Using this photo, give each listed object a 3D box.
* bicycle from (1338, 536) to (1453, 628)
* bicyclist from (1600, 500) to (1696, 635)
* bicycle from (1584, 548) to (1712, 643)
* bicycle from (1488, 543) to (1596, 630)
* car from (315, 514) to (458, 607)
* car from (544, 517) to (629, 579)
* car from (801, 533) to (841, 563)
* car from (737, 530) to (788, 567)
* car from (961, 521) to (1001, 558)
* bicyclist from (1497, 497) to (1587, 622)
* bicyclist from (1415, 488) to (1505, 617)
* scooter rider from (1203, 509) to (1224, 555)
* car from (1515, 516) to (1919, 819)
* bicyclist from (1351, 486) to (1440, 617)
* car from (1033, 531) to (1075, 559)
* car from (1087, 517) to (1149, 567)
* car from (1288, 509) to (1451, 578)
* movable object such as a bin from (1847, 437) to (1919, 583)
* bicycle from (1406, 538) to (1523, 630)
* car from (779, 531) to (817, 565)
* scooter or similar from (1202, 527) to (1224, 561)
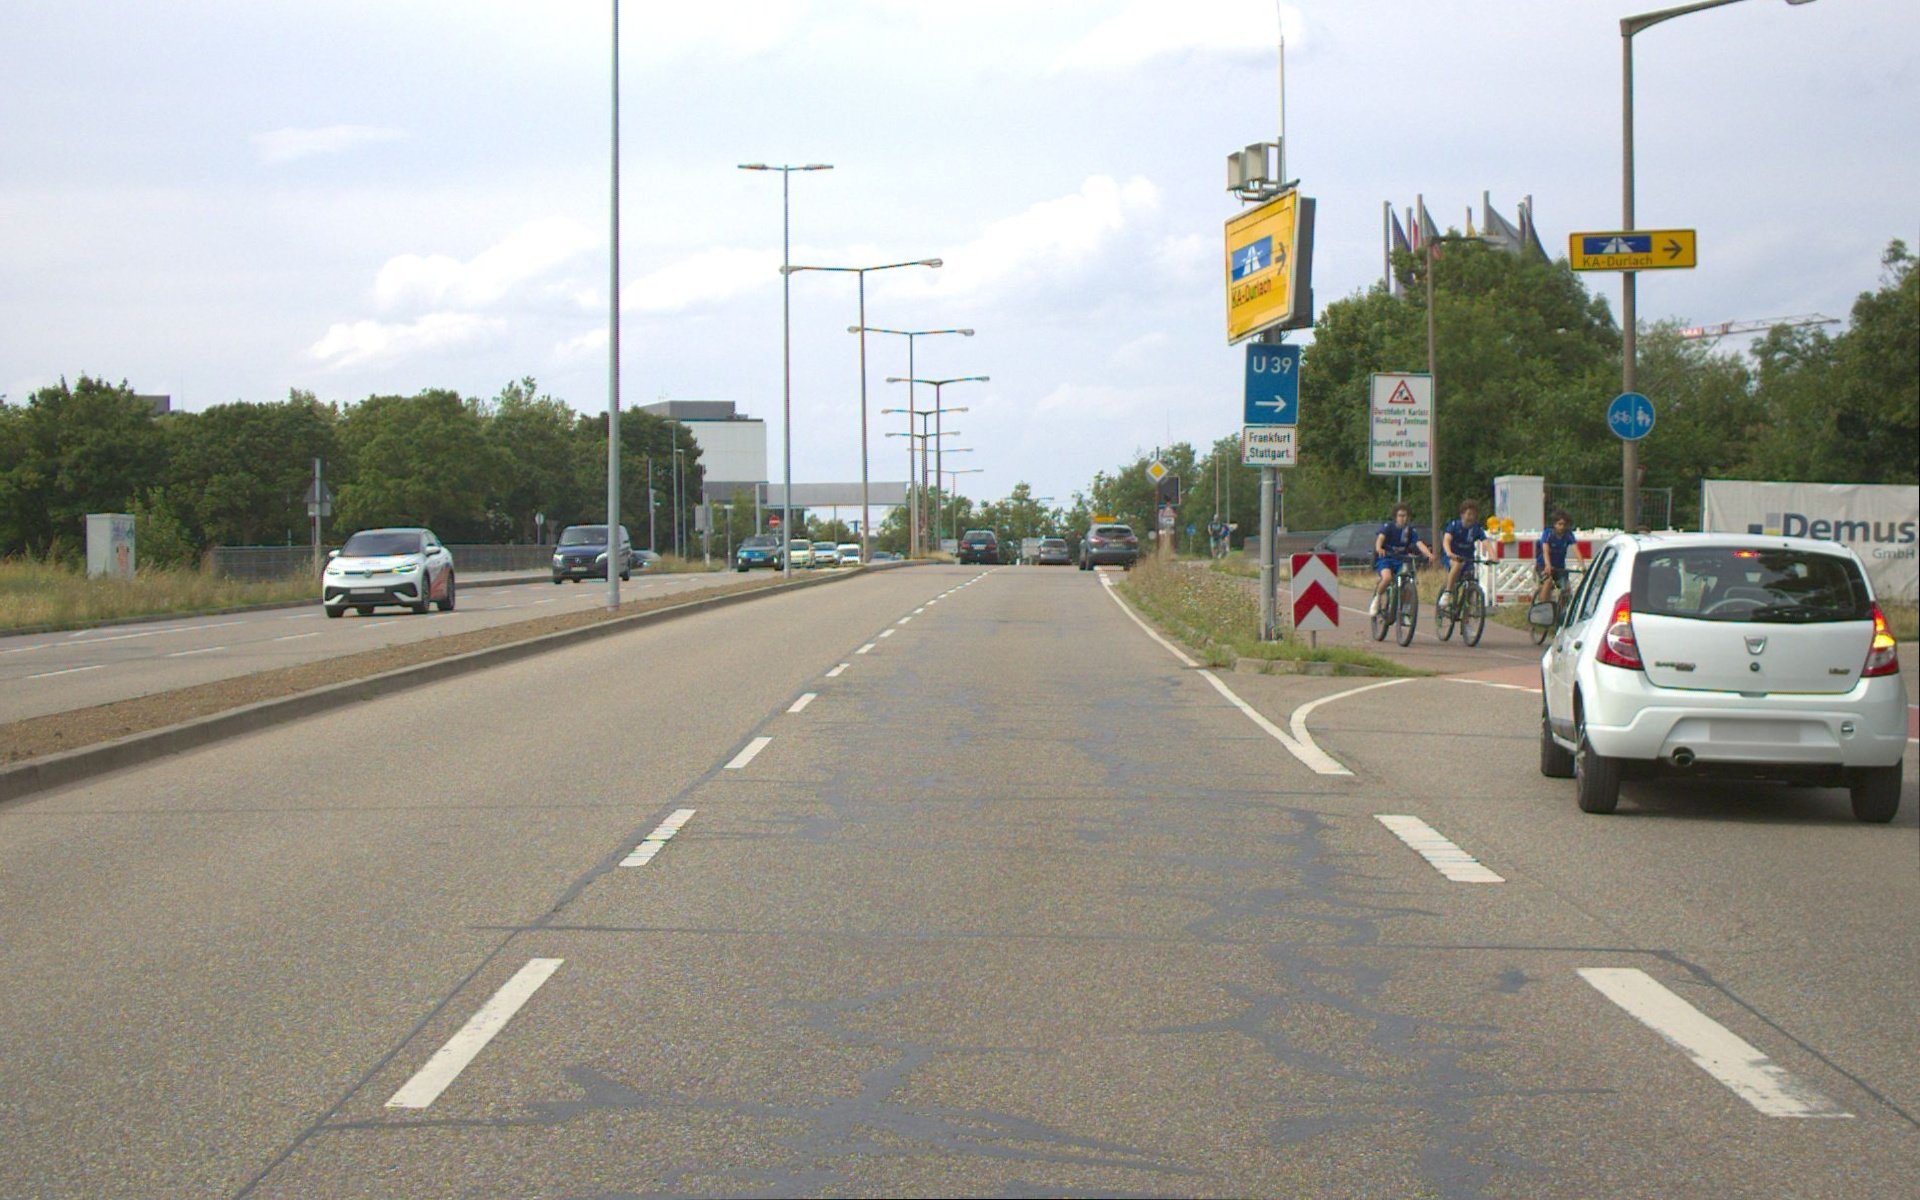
[{"bbox_3d":[5.132,-0.223,40.603,0.620,1.002,2.103,2,1,-13],"label":"bicycle"},{"bbox_3d":[7.612,-0.361,38.053,0.740,1.468,0.806,1,0,-15],"label":"bicyclist"},{"bbox_3d":[7.610,-0.052,38.084,0.620,1.002,1.788,-3,1,-15],"label":"bicycle"},{"bbox_3d":[6.986,-0.171,41.334,0.620,1.002,1.788,-2,1,-13],"label":"bicycle"},{"bbox_3d":[-10.720,-0.768,64.565,1.847,1.595,4.561,-1,2,0],"label":"car"},{"bbox_3d":[-12.174,-1.717,112.341,1.847,1.887,5.504,-3,1,3],"label":"car"},{"bbox_3d":[-7.492,-2.831,185.651,1.650,1.510,4.015,-2,1,5],"label":"car"},{"bbox_3d":[-8.301,-2.186,144.556,1.763,1.436,4.177,-2,1,1],"label":"car"},{"bbox_3d":[1.012,-2.808,160.829,1.730,1.647,4.114,0,0,2],"label":"car"},{"bbox_3d":[6.987,-0.485,41.287,0.741,1.482,0.958,1,0,-13],"label":"bicyclist"},{"bbox_3d":[5.993,-0.569,41.235,0.741,1.513,0.958,1,0,-14],"label":"bicyclist"},{"bbox_3d":[9.269,-2.478,125.785,0.587,1.685,0.744,1,0,-7],"label":"scooter rider"},{"bbox_3d":[4.264,0.312,19.635,1.847,1.497,3.999,2,1,5],"label":"car"},{"bbox_3d":[5.135,-0.568,40.572,0.741,1.513,0.958,1,0,-13],"label":"bicyclist"},{"bbox_3d":[5.350,-3.131,196.158,1.730,1.521,4.116,1,1,-8],"label":"car"},{"bbox_3d":[5.439,-1.993,118.976,1.730,1.647,4.115,0,0,-3],"label":"car"},{"bbox_3d":[10.112,-1.368,85.065,1.731,1.647,4.114,1,0,-34],"label":"car"},{"bbox_3d":[19.022,-1.638,64.115,4.502,2.680,2.101,1,0,6],"label":"movable object such as a bin"},{"bbox_3d":[6.011,-0.207,41.067,0.595,1.033,2.196,2,1,-13],"label":"bicycle"},{"bbox_3d":[-8.018,-2.592,170.003,1.549,1.572,3.691,-2,1,1],"label":"car"},{"bbox_3d":[9.266,-2.040,125.838,0.588,1.220,1.203,1,1,-6],"label":"scooter or similar"}]
